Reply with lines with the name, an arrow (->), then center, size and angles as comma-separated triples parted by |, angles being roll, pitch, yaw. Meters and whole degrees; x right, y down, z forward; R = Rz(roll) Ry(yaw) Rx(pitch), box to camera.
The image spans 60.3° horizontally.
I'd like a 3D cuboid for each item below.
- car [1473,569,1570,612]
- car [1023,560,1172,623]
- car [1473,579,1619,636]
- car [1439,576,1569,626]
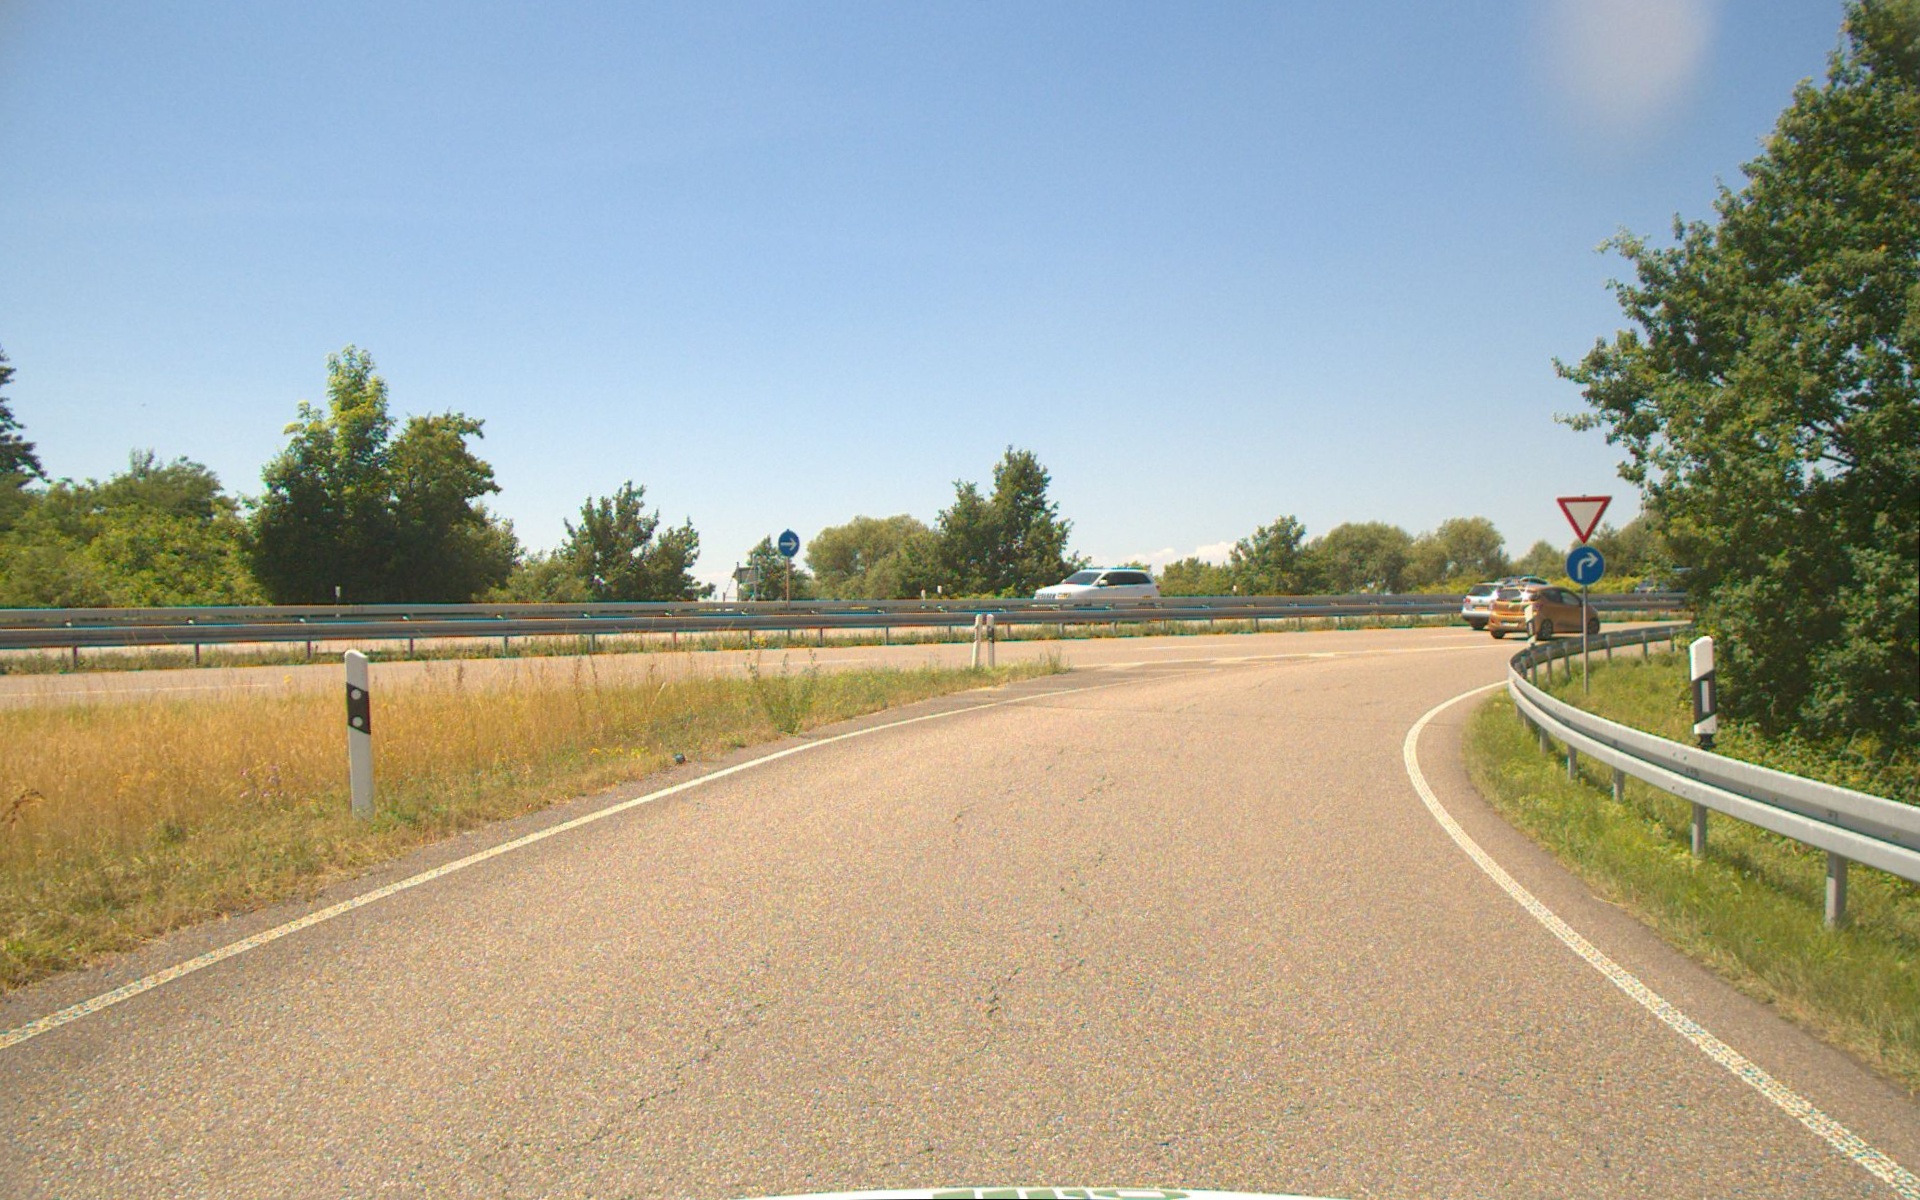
car -> 26.392, -0.421, 77.639 | 4.858, 1.926, 1.916 | 1, 0, -37
car -> 4.568, -0.256, 54.419 | 4.862, 1.926, 1.973 | 1, 0, -38
car -> 16.437, 0.180, 46.360 | 3.949, 1.489, 1.827 | 0, 2, -32
car -> 17.220, 0.012, 52.341 | 3.949, 1.476, 1.827 | 0, 2, -33
